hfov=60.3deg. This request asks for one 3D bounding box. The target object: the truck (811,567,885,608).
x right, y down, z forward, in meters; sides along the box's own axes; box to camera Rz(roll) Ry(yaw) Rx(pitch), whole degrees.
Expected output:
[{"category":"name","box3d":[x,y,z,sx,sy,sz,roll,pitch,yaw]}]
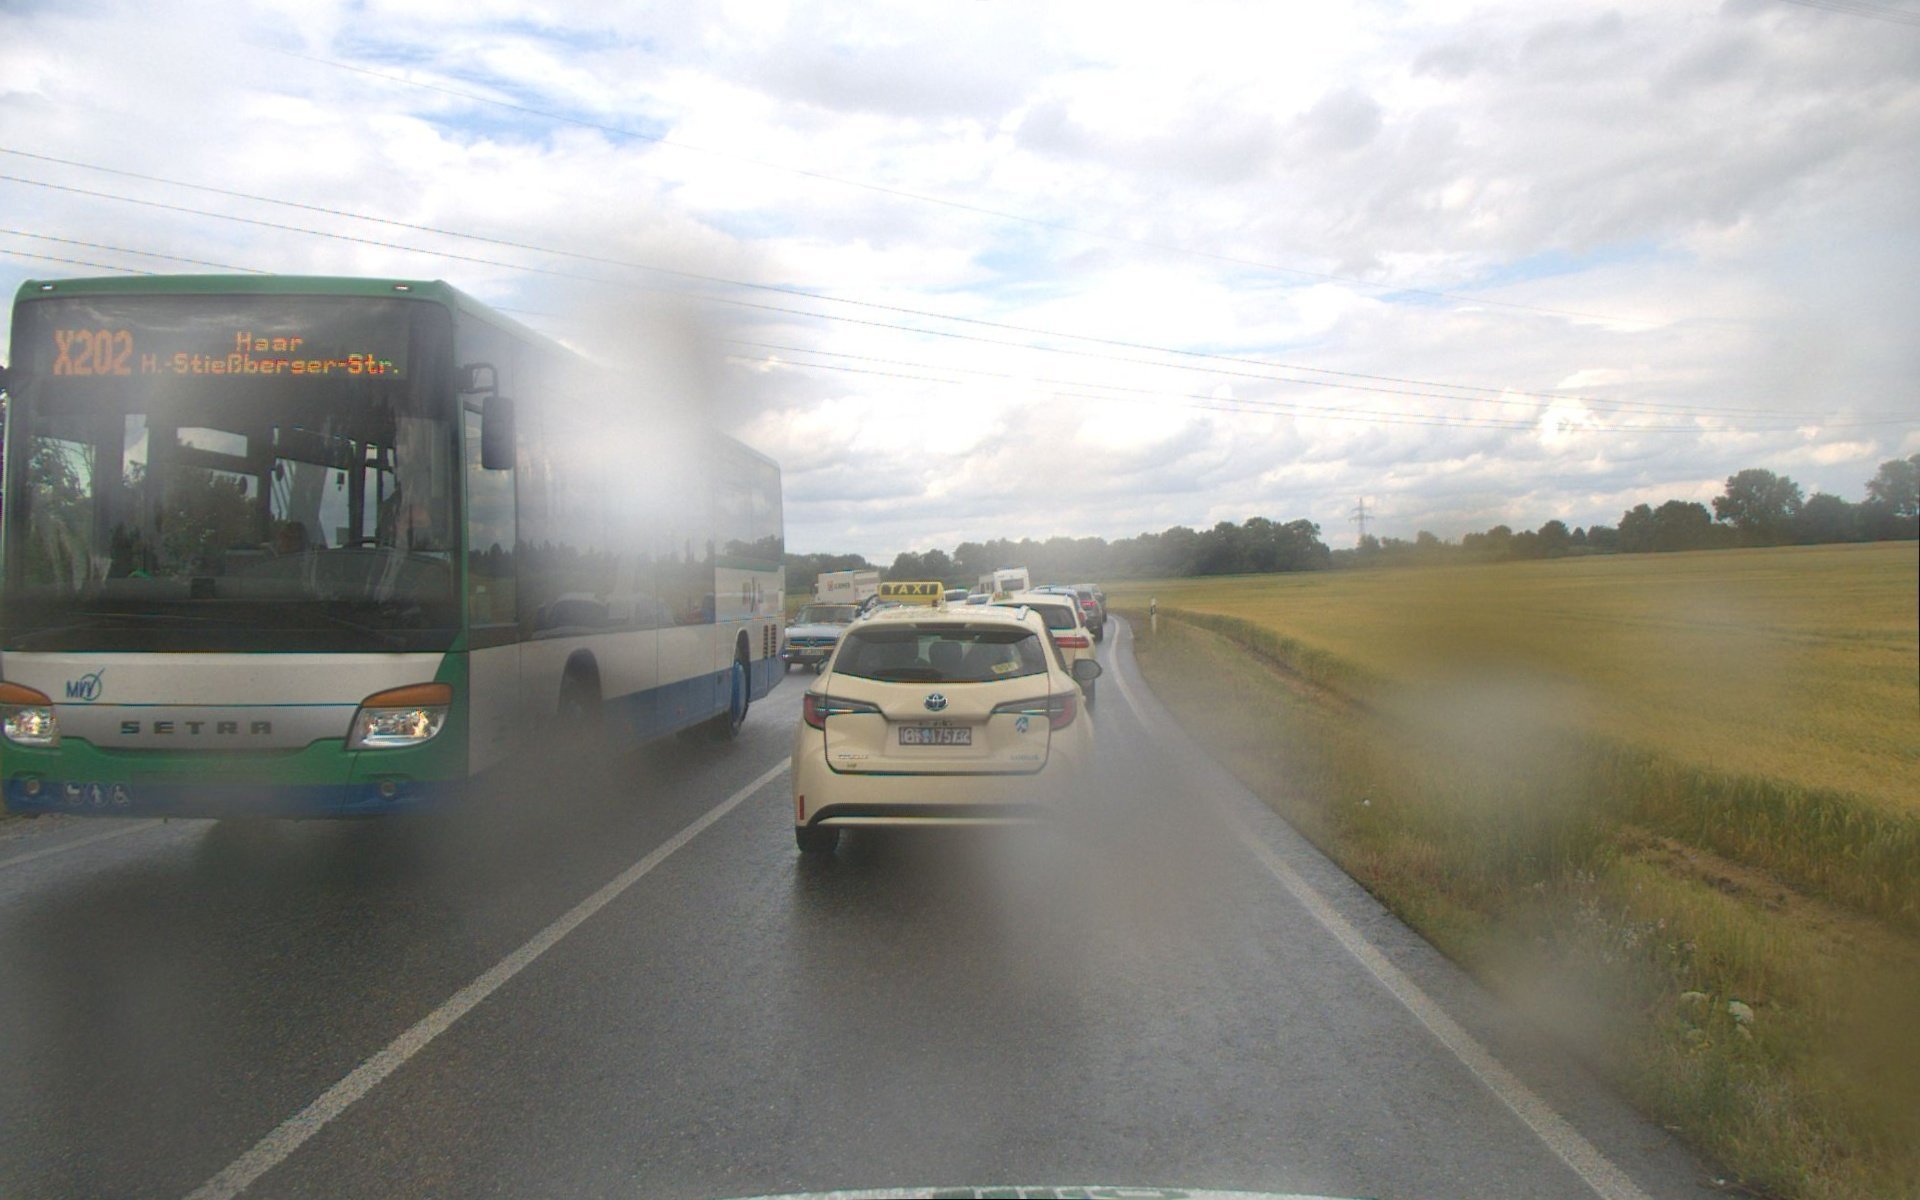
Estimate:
[{"category":"truck","box3d":[-9.618,-1.015,140.676,2.982,3.266,8.147,1,-1,-30]}]

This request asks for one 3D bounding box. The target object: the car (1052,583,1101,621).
[{"category":"car","box3d":[4.675,0.122,66.197,1.918,1.438,4.394,0,-1,4]}]

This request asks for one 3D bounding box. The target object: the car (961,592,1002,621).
[{"category":"car","box3d":[1.070,0.343,83.296,1.807,1.412,4.285,0,0,-3]}]

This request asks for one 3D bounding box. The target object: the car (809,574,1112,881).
[{"category":"car","box3d":[0.108,0.694,10.509,1.579,1.590,3.739,0,-1,3]}]

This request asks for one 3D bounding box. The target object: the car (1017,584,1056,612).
[{"category":"car","box3d":[4.246,-0.095,92.530,1.748,1.438,3.735,0,-1,-4]}]

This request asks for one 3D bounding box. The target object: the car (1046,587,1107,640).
[{"category":"car","box3d":[3.327,0.388,46.788,1.578,1.438,3.740,0,-1,6]}]

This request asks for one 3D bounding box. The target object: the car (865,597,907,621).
[{"category":"car","box3d":[-5.401,0.672,120.610,1.821,1.660,4.508,-1,0,-20]}]

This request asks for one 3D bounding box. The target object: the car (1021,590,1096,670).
[{"category":"car","box3d":[2.223,0.662,37.033,1.579,1.688,3.740,0,-1,4]}]

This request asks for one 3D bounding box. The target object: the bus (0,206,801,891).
[{"category":"bus","box3d":[-3.604,-0.274,14.394,2.700,3.355,12.506,0,0,2]}]

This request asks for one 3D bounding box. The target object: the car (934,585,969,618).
[{"category":"car","box3d":[-0.539,0.087,98.041,1.808,1.888,4.443,0,0,-4]}]

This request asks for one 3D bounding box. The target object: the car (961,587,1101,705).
[{"category":"car","box3d":[1.057,0.583,23.655,1.802,1.518,4.610,0,0,4]}]

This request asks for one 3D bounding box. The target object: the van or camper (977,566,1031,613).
[{"category":"van or camper","box3d":[2.803,-0.657,107.834,2.489,2.946,6.731,0,0,-8]}]

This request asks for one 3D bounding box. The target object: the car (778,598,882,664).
[{"category":"car","box3d":[-2.603,0.627,33.819,1.683,1.273,4.000,0,-1,2]}]
